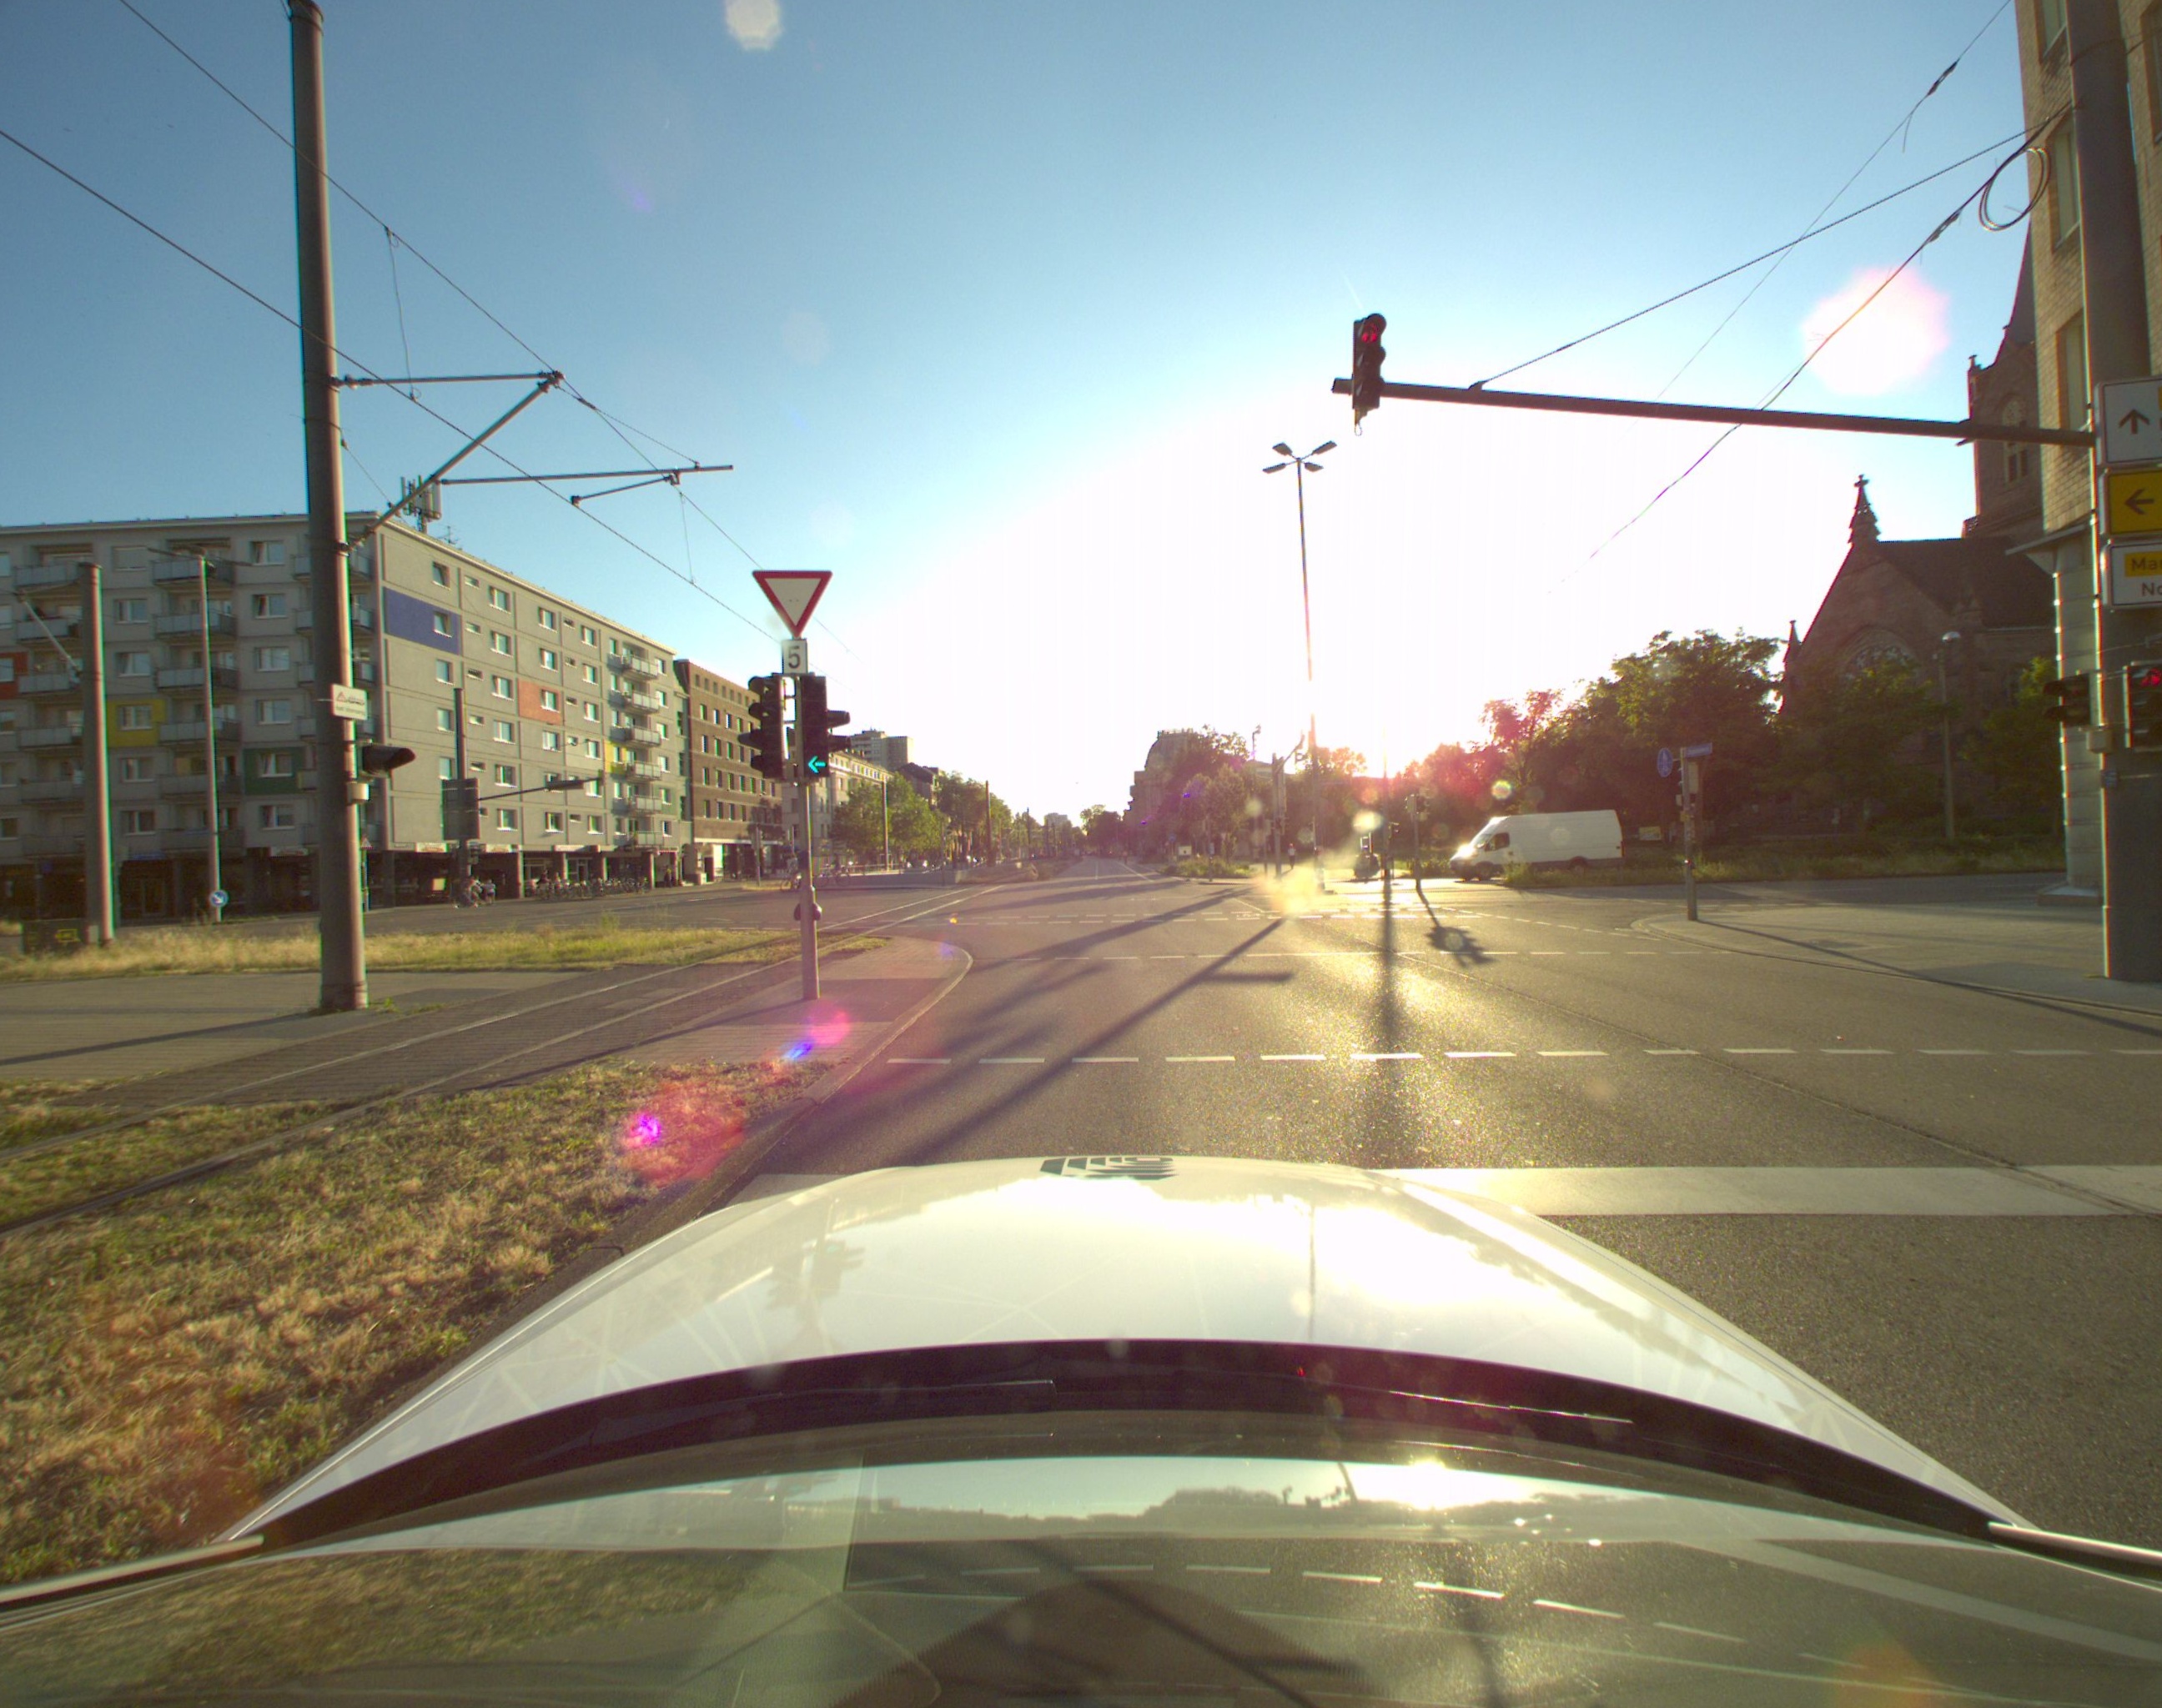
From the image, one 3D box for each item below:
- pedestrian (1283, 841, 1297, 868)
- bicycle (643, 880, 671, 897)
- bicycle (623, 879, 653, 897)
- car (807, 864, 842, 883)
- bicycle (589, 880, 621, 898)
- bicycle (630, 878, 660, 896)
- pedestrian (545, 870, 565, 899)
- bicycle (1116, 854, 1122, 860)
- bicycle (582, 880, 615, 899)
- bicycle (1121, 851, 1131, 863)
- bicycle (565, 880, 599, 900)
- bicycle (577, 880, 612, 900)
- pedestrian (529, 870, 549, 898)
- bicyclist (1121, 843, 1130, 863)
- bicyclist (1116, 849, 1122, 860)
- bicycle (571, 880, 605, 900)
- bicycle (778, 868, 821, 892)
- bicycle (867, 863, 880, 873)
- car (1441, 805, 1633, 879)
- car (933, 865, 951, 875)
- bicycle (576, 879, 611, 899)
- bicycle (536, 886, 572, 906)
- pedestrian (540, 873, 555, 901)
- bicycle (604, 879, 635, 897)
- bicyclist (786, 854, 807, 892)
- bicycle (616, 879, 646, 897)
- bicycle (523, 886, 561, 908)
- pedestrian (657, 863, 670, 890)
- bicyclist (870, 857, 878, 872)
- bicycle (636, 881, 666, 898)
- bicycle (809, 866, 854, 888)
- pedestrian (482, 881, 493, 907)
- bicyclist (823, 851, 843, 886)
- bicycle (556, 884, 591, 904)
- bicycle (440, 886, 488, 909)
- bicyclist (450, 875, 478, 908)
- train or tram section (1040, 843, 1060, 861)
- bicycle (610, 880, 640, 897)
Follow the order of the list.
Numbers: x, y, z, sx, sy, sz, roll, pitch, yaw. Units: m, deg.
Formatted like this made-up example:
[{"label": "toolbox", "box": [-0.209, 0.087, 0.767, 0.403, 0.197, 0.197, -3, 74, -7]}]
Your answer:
[{"label": "pedestrian", "box": [14.333, 0.019, 55.887, 0.826, 1.803, 0.814, -2, 0, 17]}, {"label": "bicycle", "box": [-30.787, 2.485, 59.154, 1.683, 1.144, 0.697, -2, 0, 3]}, {"label": "bicycle", "box": [-30.950, 2.366, 56.887, 1.683, 1.153, 0.706, -2, 0, 3]}, {"label": "car", "box": [-24.450, 1.842, 77.699, 1.681, 1.618, 4.005, -4, 0, 5]}, {"label": "bicycle", "box": [-31.804, 2.324, 54.409, 1.764, 1.136, 0.606, -2, 0, 2]}, {"label": "bicycle", "box": [-30.884, 2.358, 57.649, 1.683, 1.179, 0.749, -2, 0, 3]}, {"label": "pedestrian", "box": [-34.750, 2.004, 53.796, 0.785, 1.841, 0.733, -2, 0, -7]}, {"label": "bicycle", "box": [7.125, 0.490, 152.299, 0.921, 1.111, 2.334, -2, 0, 2]}, {"label": "bicycle", "box": [-31.843, 2.321, 53.762, 1.769, 1.159, 0.606, -2, 0, 1]}, {"label": "bicycle", "box": [5.277, 0.326, 96.520, 1.094, 1.399, 2.833, -2, 0, 2]}, {"label": "bicycle", "box": [-31.288, 2.264, 51.064, 1.759, 1.167, 0.540, -2, 0, 2]}, {"label": "bicycle", "box": [-31.245, 2.299, 52.314, 1.782, 1.191, 0.652, -2, 0, 1]}, {"label": "pedestrian", "box": [-35.776, 1.961, 53.757, 0.826, 1.813, 0.719, 0, 0, -9]}, {"label": "bicyclist", "box": [5.262, -0.093, 96.349, 1.078, 2.276, 0.986, -2, 0, 1]}, {"label": "bicyclist", "box": [7.115, 0.052, 152.279, 0.922, 2.013, 0.851, -2, 0, 1]}, {"label": "bicycle", "box": [-31.270, 2.309, 51.673, 1.762, 1.182, 0.568, -2, 0, 1]}, {"label": "bicycle", "box": [-13.892, 1.268, 40.171, 1.902, 1.075, 0.630, -2, 0, -12]}, {"label": "bicycle", "box": [-27.520, 1.811, 107.988, 0.809, 1.201, 2.415, -2, 0, 4]}, {"label": "car", "box": [19.552, -0.502, 35.199, 6.981, 2.827, 2.095, -2, 0, 3]}, {"label": "car", "box": [-22.080, 2.471, 129.825, 1.810, 1.420, 4.006, -2, 0, 5]}, {"label": "bicycle", "box": [-31.794, 2.279, 53.133, 1.824, 1.160, 0.640, -2, 0, 1]}, {"label": "bicycle", "box": [-32.227, 2.592, 49.848, 1.770, 1.142, 0.608, -2, 0, 1]}, {"label": "pedestrian", "box": [-33.113, 2.046, 50.523, 0.579, 1.684, 0.544, -2, 0, -12]}, {"label": "bicycle", "box": [-31.140, 2.310, 54.987, 1.748, 1.117, 0.552, -2, 0, 2]}, {"label": "bicyclist", "box": [-14.025, 0.912, 40.140, 0.793, 1.818, 0.644, -2, 0, -11]}, {"label": "bicycle", "box": [-31.050, 2.333, 56.208, 1.719, 1.124, 0.634, -2, -1, 3]}, {"label": "bicycle", "box": [-32.284, 2.554, 48.813, 1.788, 1.208, 0.638, -2, 0, 0]}, {"label": "pedestrian", "box": [-34.577, 1.853, 67.448, 0.599, 2.178, 0.792, -2, 0, 1]}, {"label": "bicyclist", "box": [-27.500, 1.386, 108.231, 0.793, 2.013, 0.924, -2, 0, 4]}, {"label": "bicycle", "box": [-30.849, 2.529, 58.423, 1.683, 1.170, 0.749, -2, 0, 3]}, {"label": "bicycle", "box": [-12.927, 1.206, 42.273, 2.162, 1.083, 0.537, -1, -1, -8]}, {"label": "pedestrian", "box": [-32.479, 2.189, 44.534, 0.383, 1.383, 0.392, -2, 0, -26]}, {"label": "bicyclist", "box": [-12.884, 0.750, 42.292, 0.875, 1.818, 0.536, -2, 0, -8]}, {"label": "bicycle", "box": [-31.454, 2.495, 50.494, 1.750, 1.139, 0.600, -2, 0, 2]}, {"label": "bicycle", "box": [-28.292, 1.968, 37.359, 0.503, 0.944, 1.678, -2, 0, 30]}, {"label": "bicyclist", "box": [-28.303, 1.718, 37.373, 0.494, 1.426, 0.863, -2, 0, 29]}, {"label": "train or tram section", "box": [-7.220, -0.392, 189.511, 4.375, 3.850, 11.400, -2, 0, -2]}, {"label": "bicycle", "box": [-31.107, 2.343, 55.573, 1.754, 1.119, 0.568, -2, 0, 2]}]
